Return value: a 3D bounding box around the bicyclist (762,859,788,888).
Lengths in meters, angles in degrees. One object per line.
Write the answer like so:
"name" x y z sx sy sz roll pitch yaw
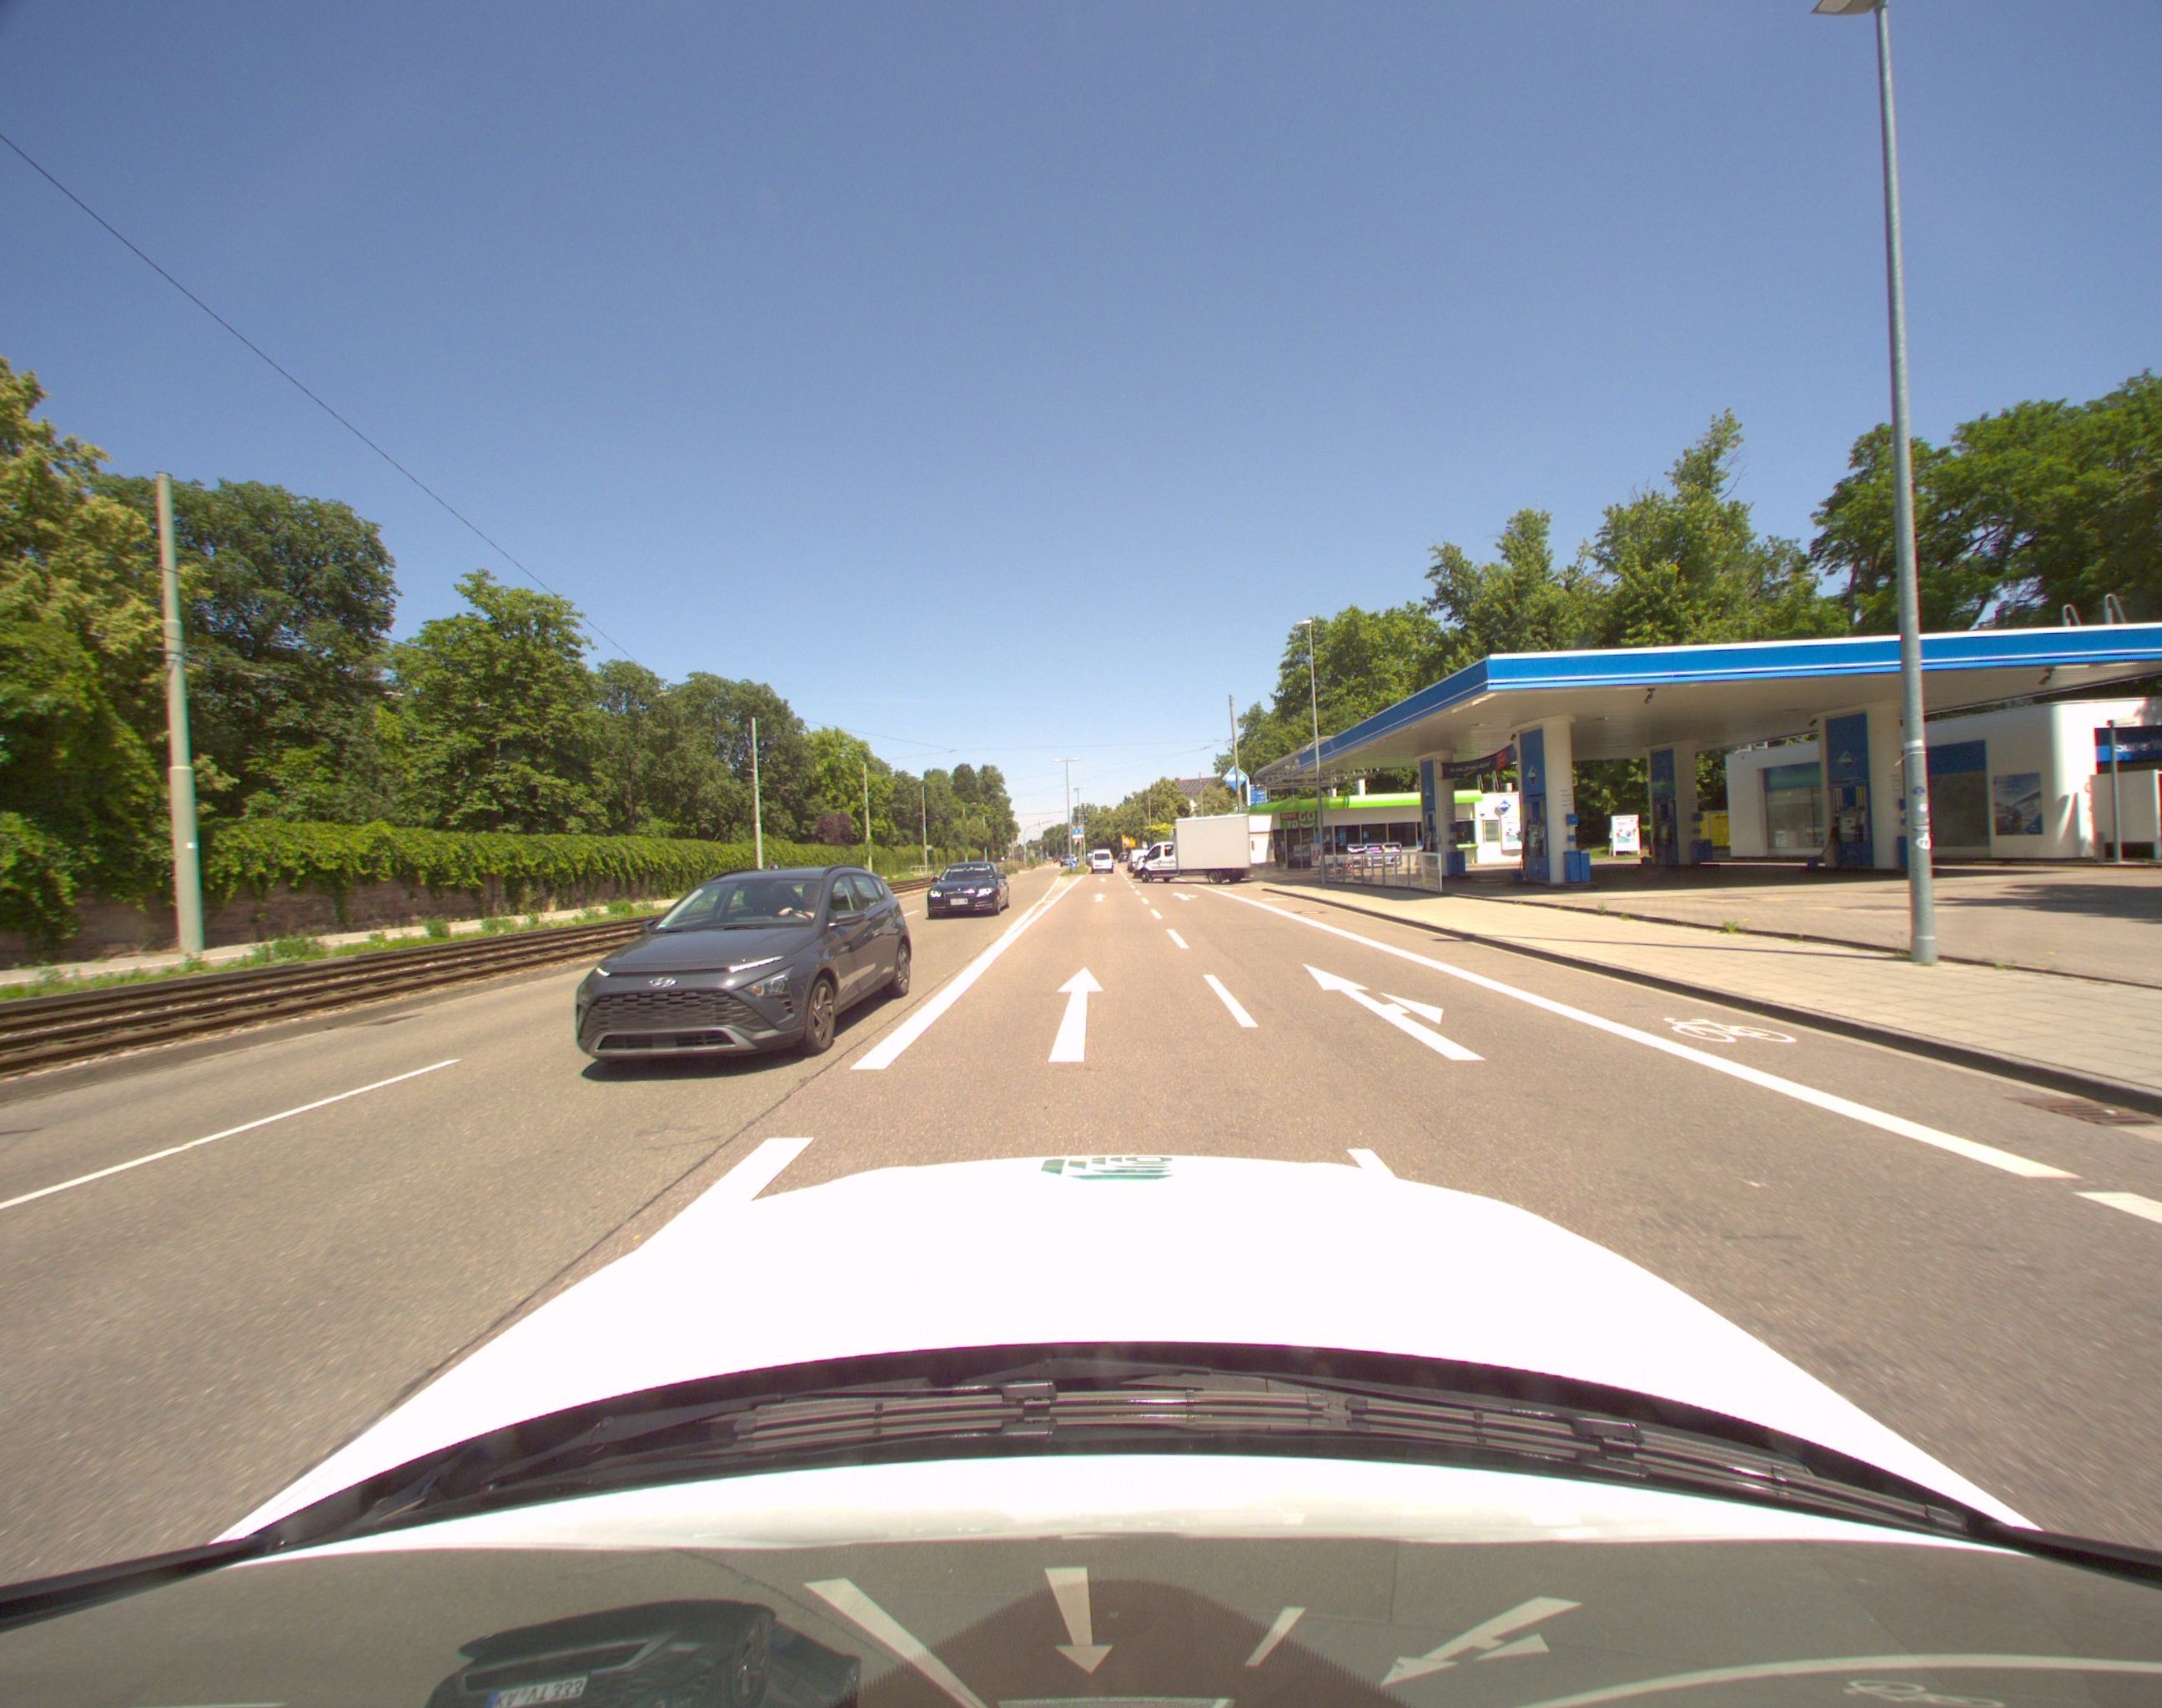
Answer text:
"bicyclist" -16.626 1.049 44.285 0.991 1.486 1.000 -2 0 1

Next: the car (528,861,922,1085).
"car" -2.838 0.827 7.627 1.707 1.422 4.143 -2 0 2

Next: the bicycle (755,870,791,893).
"bicycle" -16.624 1.465 44.017 0.825 1.156 2.687 -2 0 2

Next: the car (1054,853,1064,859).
"car" -4.999 0.474 186.380 1.976 1.358 4.541 -2 0 2

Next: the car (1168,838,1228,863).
"car" 12.994 -0.413 90.371 6.156 2.516 2.715 -2 0 14

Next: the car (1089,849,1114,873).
"car" 1.640 0.535 64.774 1.860 1.836 3.849 -2 0 1

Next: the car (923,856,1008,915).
"car" -3.107 0.795 22.767 1.788 1.399 4.445 -2 0 -1

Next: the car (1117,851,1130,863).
"car" 6.883 0.408 132.724 1.986 1.859 4.001 -3 0 1

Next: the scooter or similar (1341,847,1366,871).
"scooter or similar" 14.149 0.243 42.277 1.131 1.176 0.384 -2 0 2

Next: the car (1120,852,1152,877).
"car" 3.385 0.652 50.737 1.764 1.420 4.002 -2 0 2

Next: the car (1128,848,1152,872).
"car" 4.717 0.462 65.714 1.703 1.830 4.015 -2 0 2

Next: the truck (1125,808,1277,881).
"truck" 6.050 -0.392 42.255 7.735 3.391 2.442 -3 0 44

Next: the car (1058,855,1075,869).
"car" -2.094 1.060 114.649 1.990 1.829 4.532 -3 0 -5

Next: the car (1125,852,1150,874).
"car" 3.934 0.623 56.659 1.600 1.451 3.523 -2 0 2
